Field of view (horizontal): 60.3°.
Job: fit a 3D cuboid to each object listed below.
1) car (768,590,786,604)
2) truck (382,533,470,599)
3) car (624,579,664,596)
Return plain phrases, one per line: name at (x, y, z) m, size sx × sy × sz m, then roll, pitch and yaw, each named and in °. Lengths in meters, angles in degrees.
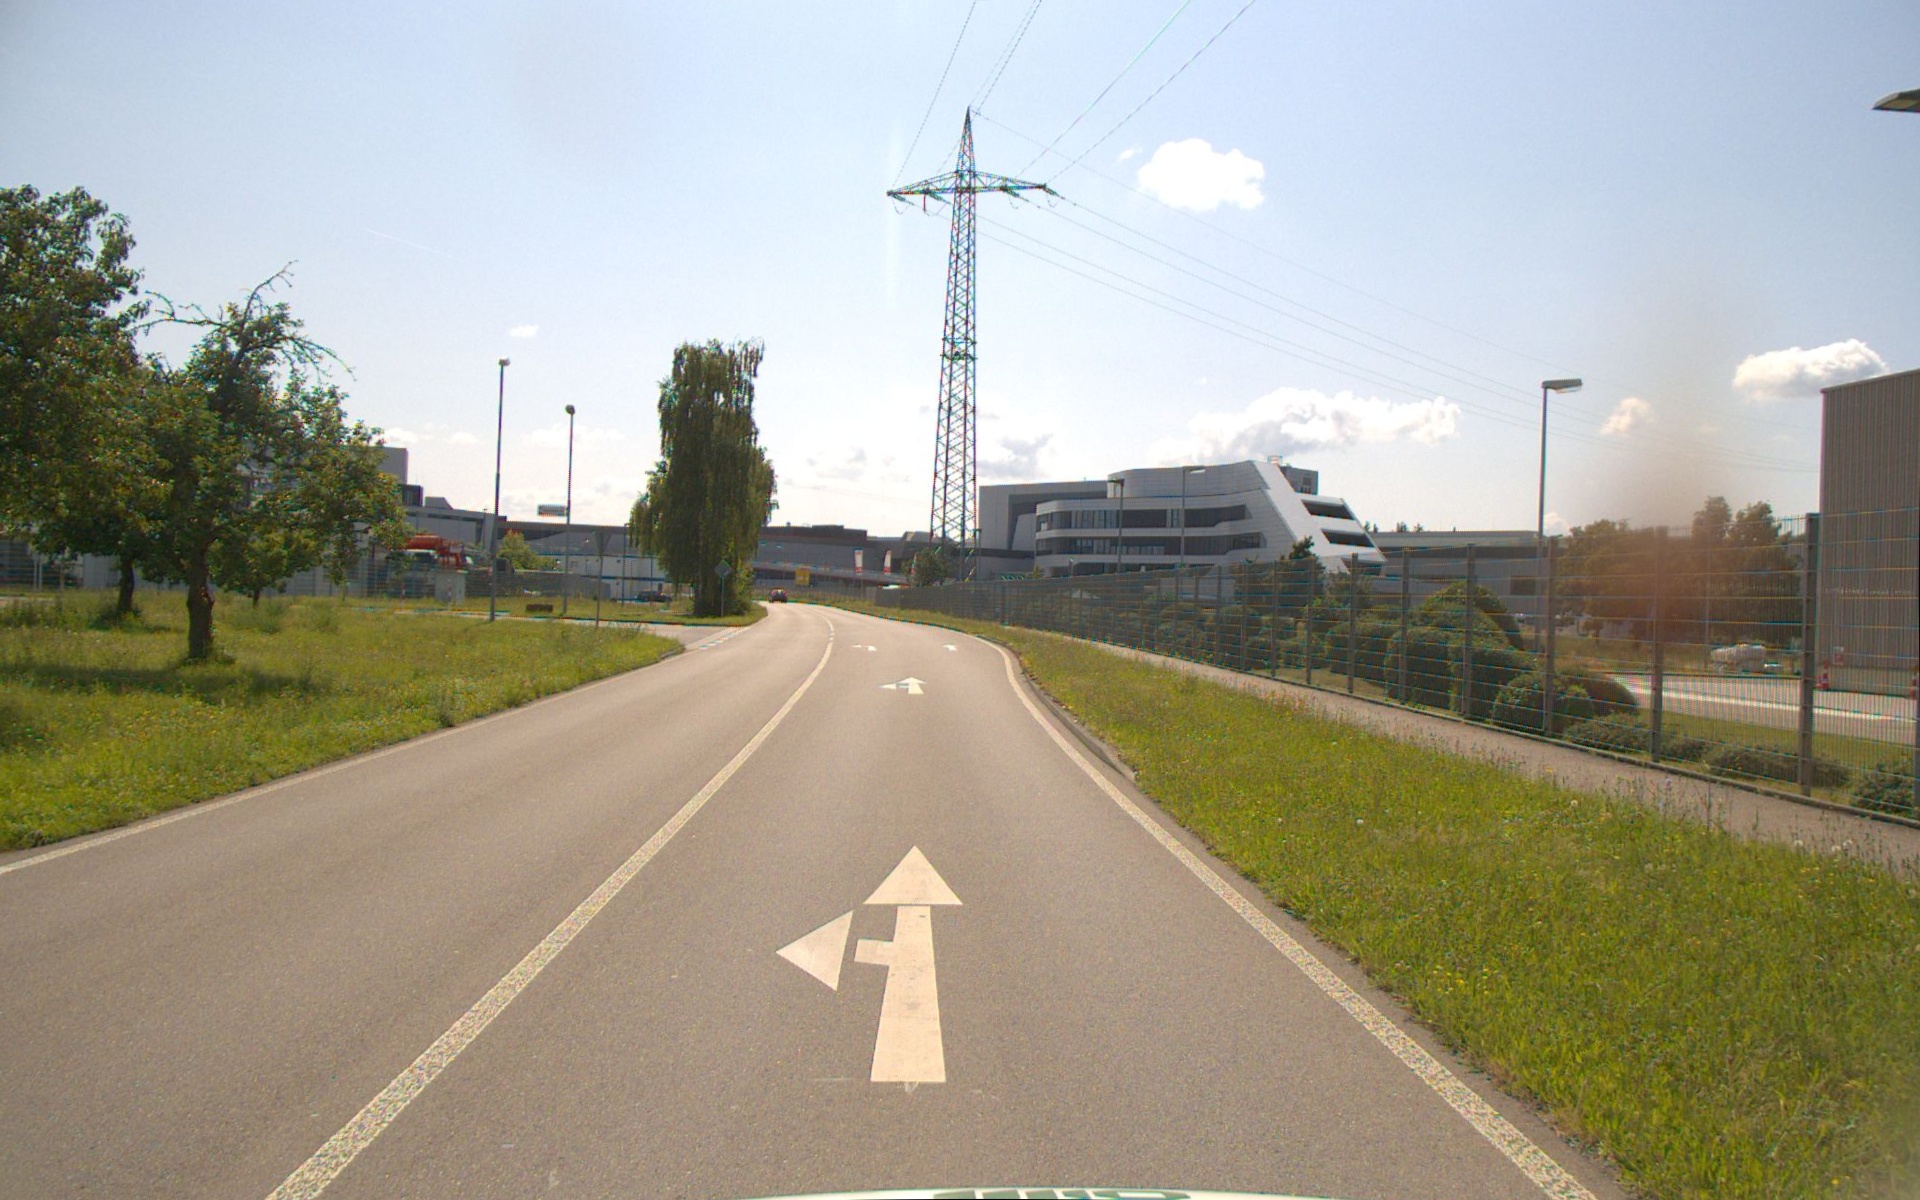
car at (-21.921, -0.370, 198.102) m, size 1.972 × 1.534 × 3.997 m, roll 2°, pitch 0°, yaw -4°
truck at (-31.345, -1.919, 97.571) m, size 2.700 × 3.621 × 10.254 m, roll 2°, pitch 0°, yaw -6°
car at (-32.740, -1.330, 171.545) m, size 3.912 × 1.601 × 1.996 m, roll 2°, pitch 0°, yaw -8°
